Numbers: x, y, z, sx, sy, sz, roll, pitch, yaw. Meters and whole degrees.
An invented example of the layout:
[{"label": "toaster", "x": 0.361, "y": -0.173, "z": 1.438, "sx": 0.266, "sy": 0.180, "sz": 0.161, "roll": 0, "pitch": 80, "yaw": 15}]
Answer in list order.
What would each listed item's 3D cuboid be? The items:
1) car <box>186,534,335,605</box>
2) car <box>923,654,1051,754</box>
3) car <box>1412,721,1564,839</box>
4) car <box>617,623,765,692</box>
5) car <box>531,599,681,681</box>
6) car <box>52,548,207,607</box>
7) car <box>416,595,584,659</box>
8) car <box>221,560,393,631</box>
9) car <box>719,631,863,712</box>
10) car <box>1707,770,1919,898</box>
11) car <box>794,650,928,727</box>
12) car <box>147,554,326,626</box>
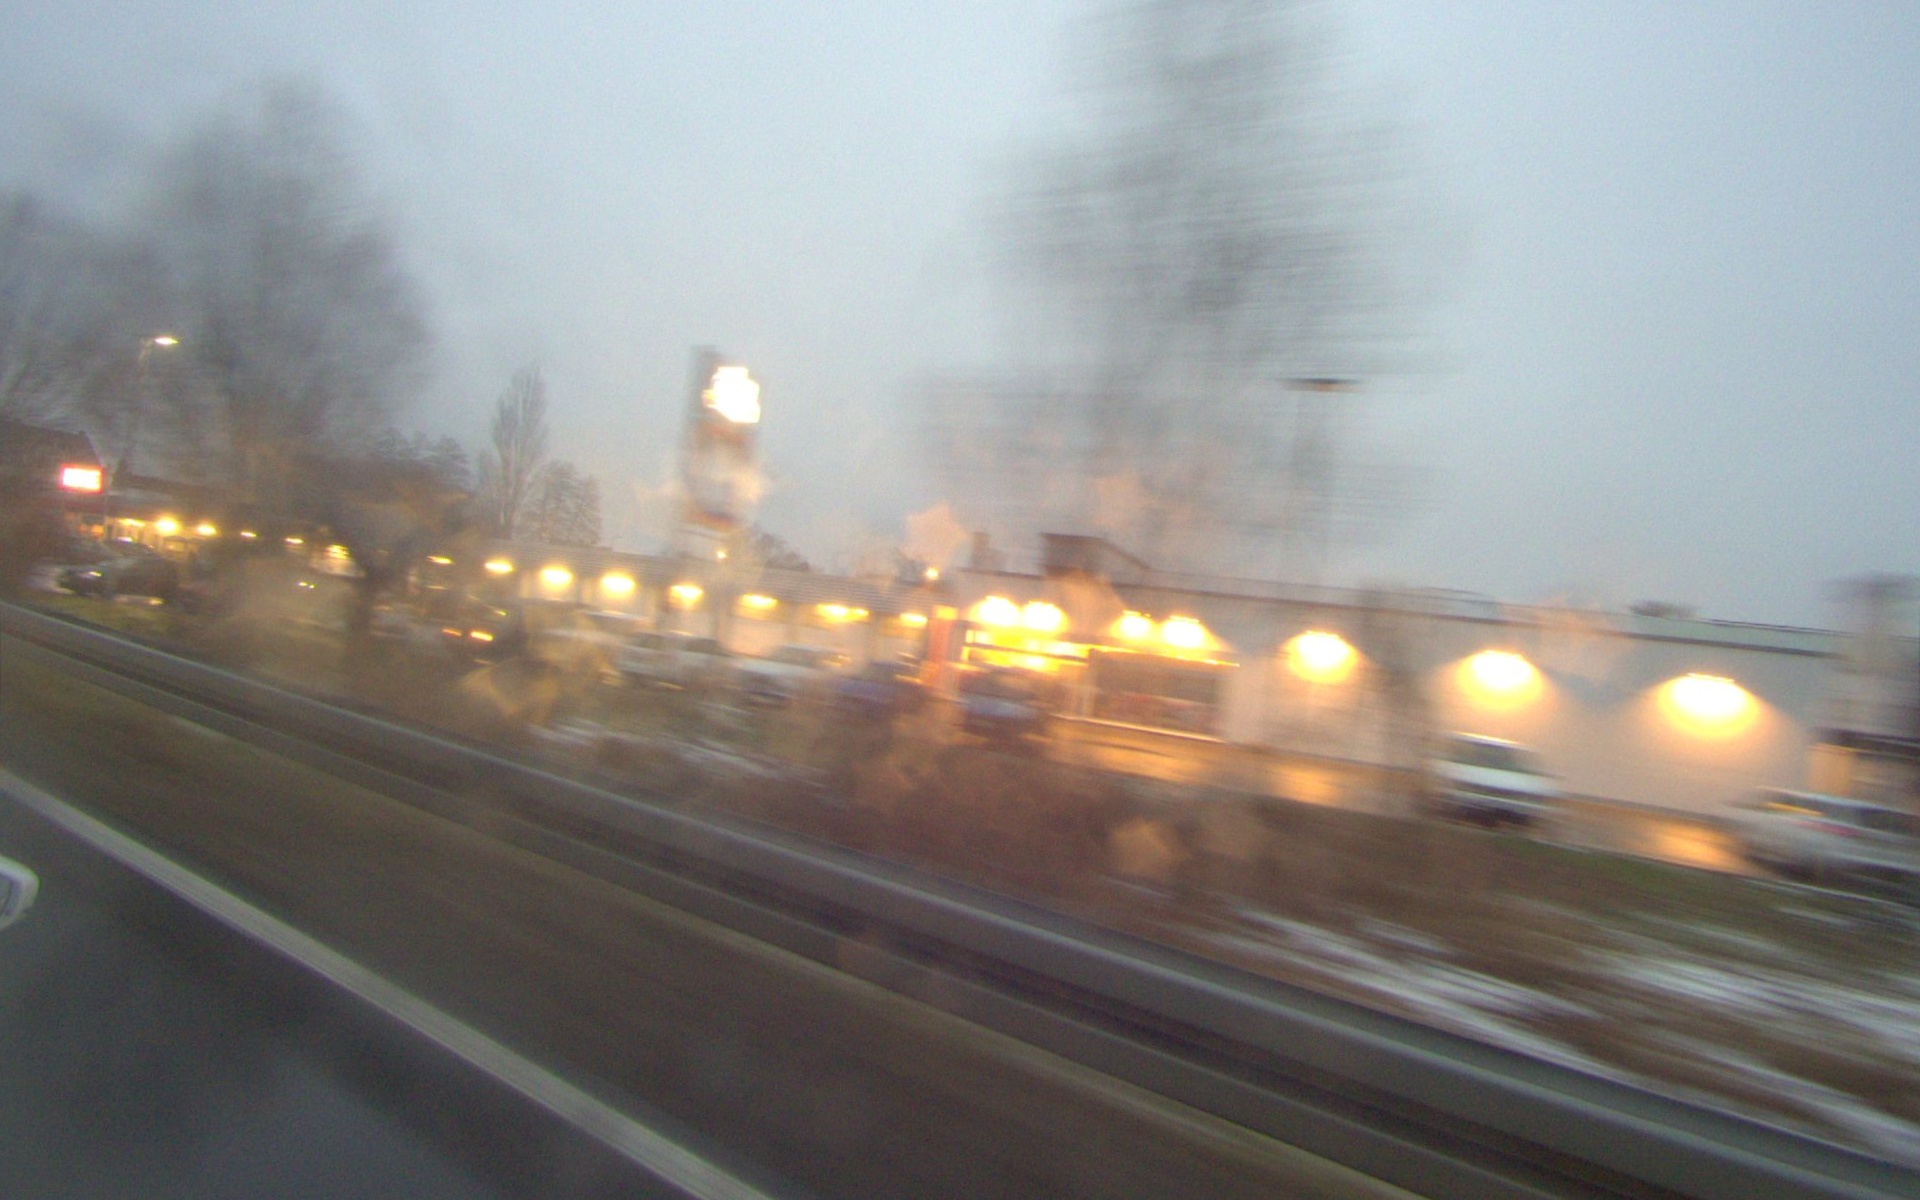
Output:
[{"label": "car", "x": -35.342, "y": -1.474, "z": 51.027, "sx": 5.547, "sy": 2.807, "sz": 2.096, "roll": 6, "pitch": -3, "yaw": -18}, {"label": "car", "x": 0.760, "y": 2.381, "z": 23.937, "sx": 1.962, "sy": 1.876, "sz": 4.266, "roll": 8, "pitch": -2, "yaw": 14}, {"label": "car", "x": 10.591, "y": 3.528, "z": 20.516, "sx": 1.963, "sy": 1.733, "sz": 4.411, "roll": 7, "pitch": -3, "yaw": 20}, {"label": "car", "x": -7.010, "y": 1.579, "z": 26.666, "sx": 1.631, "sy": 1.438, "sz": 4.146, "roll": 7, "pitch": -3, "yaw": 19}, {"label": "car", "x": -9.659, "y": 1.178, "z": 27.841, "sx": 1.631, "sy": 1.855, "sz": 4.148, "roll": 6, "pitch": -4, "yaw": 16}, {"label": "car", "x": -27.603, "y": -0.718, "z": 33.575, "sx": 1.632, "sy": 1.439, "sz": 3.551, "roll": 5, "pitch": -4, "yaw": 21}, {"label": "car", "x": -13.049, "y": 0.841, "z": 28.914, "sx": 1.631, "sy": 1.506, "sz": 4.741, "roll": 5, "pitch": -2, "yaw": 15}, {"label": "car", "x": -20.135, "y": -0.063, "z": 31.246, "sx": 1.983, "sy": 1.750, "sz": 4.146, "roll": 6, "pitch": -2, "yaw": 12}, {"label": "car", "x": -4.257, "y": 1.897, "z": 26.110, "sx": 1.962, "sy": 1.647, "sz": 4.269, "roll": 8, "pitch": -3, "yaw": 14}, {"label": "car", "x": 16.160, "y": 4.303, "z": 18.907, "sx": 1.963, "sy": 1.534, "sz": 4.198, "roll": 9, "pitch": -2, "yaw": 18}, {"label": "car", "x": -2.333, "y": 2.185, "z": 24.900, "sx": 1.962, "sy": 1.493, "sz": 3.883, "roll": 7, "pitch": -3, "yaw": 14}, {"label": "car", "x": -22.578, "y": -0.258, "z": 31.622, "sx": 1.983, "sy": 1.744, "sz": 4.146, "roll": 6, "pitch": -2, "yaw": 13}]
